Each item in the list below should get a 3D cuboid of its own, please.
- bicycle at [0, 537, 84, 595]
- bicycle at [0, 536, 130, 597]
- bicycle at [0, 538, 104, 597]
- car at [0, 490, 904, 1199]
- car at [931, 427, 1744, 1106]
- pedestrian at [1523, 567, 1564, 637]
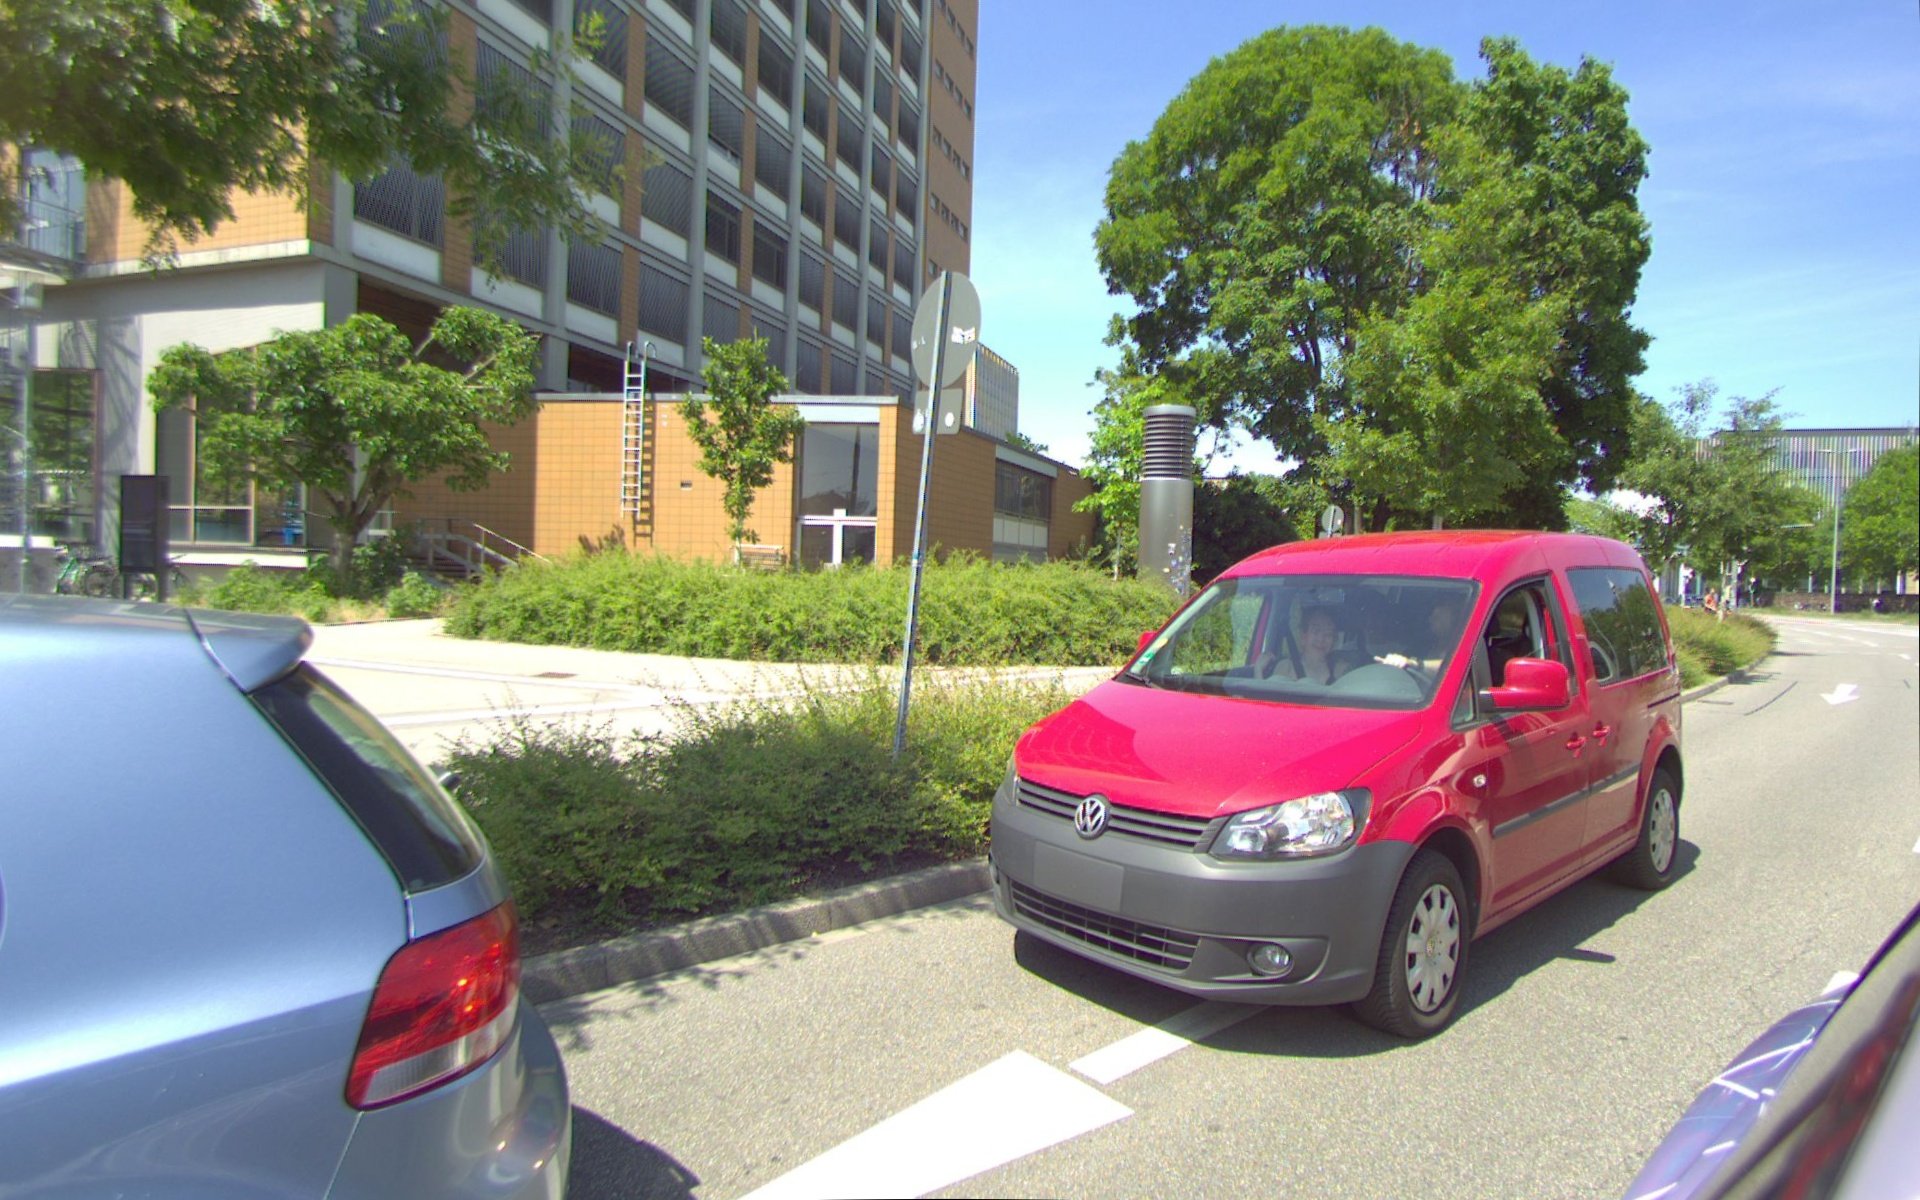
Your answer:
[{"bbox_3d":[-20.721,-0.737,22.226,0.630,1.233,2.201,0,0,22],"label":"bicycle"},{"bbox_3d":[-19.204,-0.693,21.667,0.630,1.233,2.202,0,0,22],"label":"bicycle"},{"bbox_3d":[-20.102,-0.691,22.050,0.630,1.233,2.202,0,0,22],"label":"bicycle"},{"bbox_3d":[-2.119,0.617,1.118,3.933,1.477,1.654,0,0,-41],"label":"car"},{"bbox_3d":[2.131,0.450,4.874,4.464,1.882,1.655,0,1,-40],"label":"car"},{"bbox_3d":[15.507,0.045,26.912,0.603,1.820,0.728,1,1,-40],"label":"pedestrian"}]
